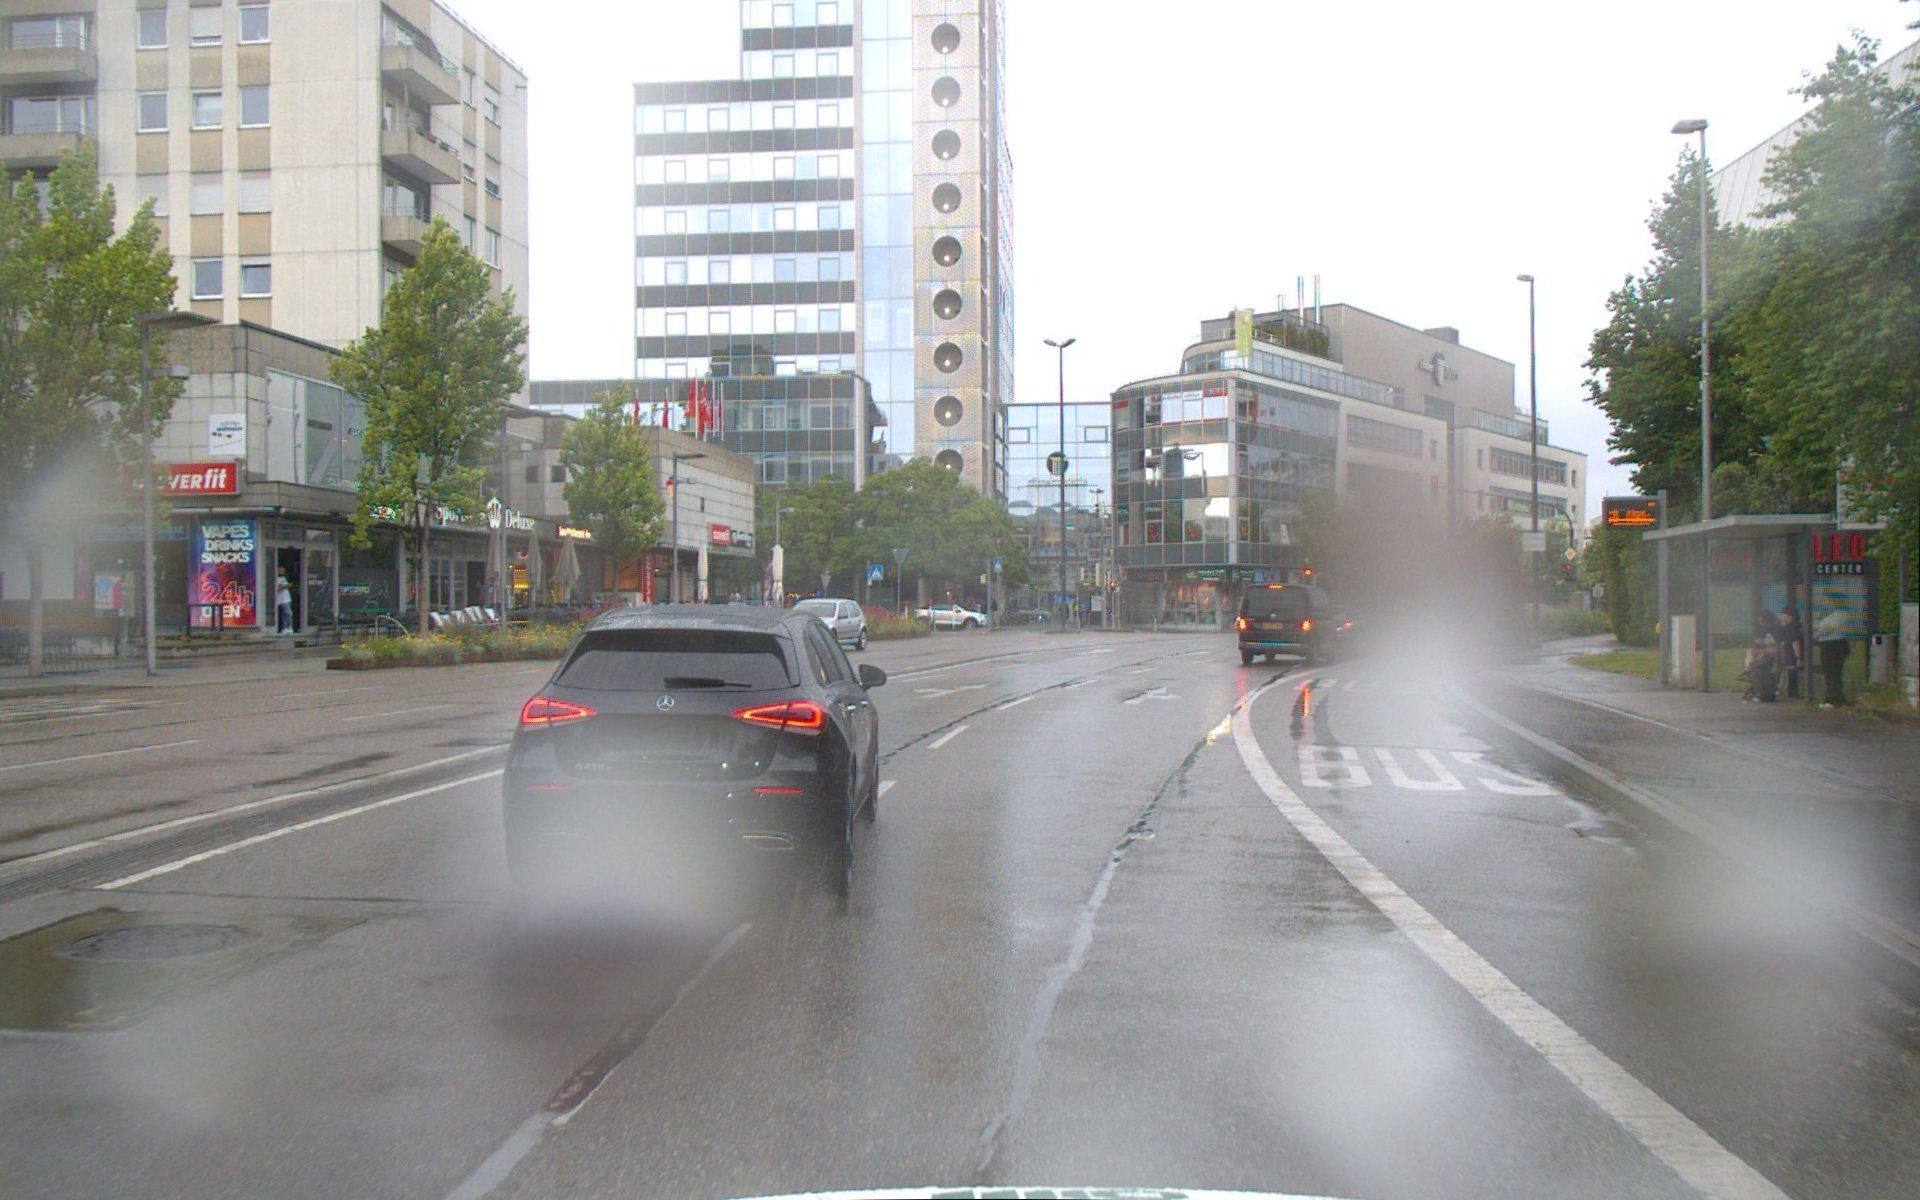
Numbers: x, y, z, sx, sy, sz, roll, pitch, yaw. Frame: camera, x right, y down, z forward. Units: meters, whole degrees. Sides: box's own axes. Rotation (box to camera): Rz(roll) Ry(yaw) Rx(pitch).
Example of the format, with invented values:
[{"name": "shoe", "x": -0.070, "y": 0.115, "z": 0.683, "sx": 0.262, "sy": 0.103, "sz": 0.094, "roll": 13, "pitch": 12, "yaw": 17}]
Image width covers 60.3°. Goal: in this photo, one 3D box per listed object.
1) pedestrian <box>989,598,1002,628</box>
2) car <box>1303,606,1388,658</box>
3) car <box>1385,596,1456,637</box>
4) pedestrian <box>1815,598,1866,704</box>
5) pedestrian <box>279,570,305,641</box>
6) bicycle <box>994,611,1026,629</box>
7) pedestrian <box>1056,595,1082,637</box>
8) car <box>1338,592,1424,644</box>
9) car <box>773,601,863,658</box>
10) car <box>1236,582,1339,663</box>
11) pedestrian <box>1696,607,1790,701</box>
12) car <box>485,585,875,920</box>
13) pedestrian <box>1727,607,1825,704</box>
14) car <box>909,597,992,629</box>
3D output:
[{"name": "pedestrian", "x": 2.397, "y": 0.864, "z": 112.429, "sx": 0.749, "sy": 2.049, "sz": 0.712, "roll": 0, "pitch": 0, "yaw": -10}, {"name": "car", "x": 11.342, "y": 0.903, "z": 48.452, "sx": 1.599, "sy": 1.410, "sz": 4.512, "roll": 0, "pitch": 0, "yaw": 24}, {"name": "car", "x": 16.969, "y": 0.624, "z": 60.832, "sx": 1.603, "sy": 1.474, "sz": 4.261, "roll": 0, "pitch": -1, "yaw": 29}, {"name": "pedestrian", "x": 11.836, "y": 0.684, "z": 22.230, "sx": 0.538, "sy": 1.389, "sz": 0.405, "roll": -2, "pitch": -1, "yaw": -42}, {"name": "pedestrian", "x": -17.811, "y": 0.146, "z": 44.088, "sx": 0.417, "sy": 1.880, "sz": 0.501, "roll": 0, "pitch": 0, "yaw": 17}, {"name": "bicycle", "x": 3.615, "y": 1.415, "z": 118.729, "sx": 2.225, "sy": 1.268, "sz": 0.677, "roll": -1, "pitch": -1, "yaw": 5}, {"name": "pedestrian", "x": 5.343, "y": 0.767, "z": 81.168, "sx": 1.138, "sy": 2.049, "sz": 1.328, "roll": 0, "pitch": 0, "yaw": 0}, {"name": "car", "x": 13.960, "y": 0.564, "z": 54.672, "sx": 1.864, "sy": 1.649, "sz": 4.330, "roll": 0, "pitch": 0, "yaw": 27}, {"name": "car", "x": -3.873, "y": 0.791, "z": 45.727, "sx": 1.663, "sy": 1.492, "sz": 4.106, "roll": -1, "pitch": 0, "yaw": 6}, {"name": "car", "x": 8.368, "y": 0.568, "z": 42.008, "sx": 1.954, "sy": 1.927, "sz": 4.588, "roll": 0, "pitch": -1, "yaw": 19}, {"name": "pedestrian", "x": 11.442, "y": 0.779, "z": 24.190, "sx": 1.008, "sy": 1.304, "sz": 0.692, "roll": -2, "pitch": 0, "yaw": 5}, {"name": "car", "x": -1.403, "y": 0.705, "z": 9.642, "sx": 1.779, "sy": 1.556, "sz": 3.810, "roll": 1, "pitch": 0, "yaw": -3}, {"name": "pedestrian", "x": 11.547, "y": 0.778, "z": 23.432, "sx": 1.008, "sy": 1.304, "sz": 0.692, "roll": -2, "pitch": 0, "yaw": 5}, {"name": "car", "x": -0.496, "y": 0.691, "z": 87.797, "sx": 4.102, "sy": 1.623, "sz": 1.872, "roll": 1, "pitch": 0, "yaw": 13}]
